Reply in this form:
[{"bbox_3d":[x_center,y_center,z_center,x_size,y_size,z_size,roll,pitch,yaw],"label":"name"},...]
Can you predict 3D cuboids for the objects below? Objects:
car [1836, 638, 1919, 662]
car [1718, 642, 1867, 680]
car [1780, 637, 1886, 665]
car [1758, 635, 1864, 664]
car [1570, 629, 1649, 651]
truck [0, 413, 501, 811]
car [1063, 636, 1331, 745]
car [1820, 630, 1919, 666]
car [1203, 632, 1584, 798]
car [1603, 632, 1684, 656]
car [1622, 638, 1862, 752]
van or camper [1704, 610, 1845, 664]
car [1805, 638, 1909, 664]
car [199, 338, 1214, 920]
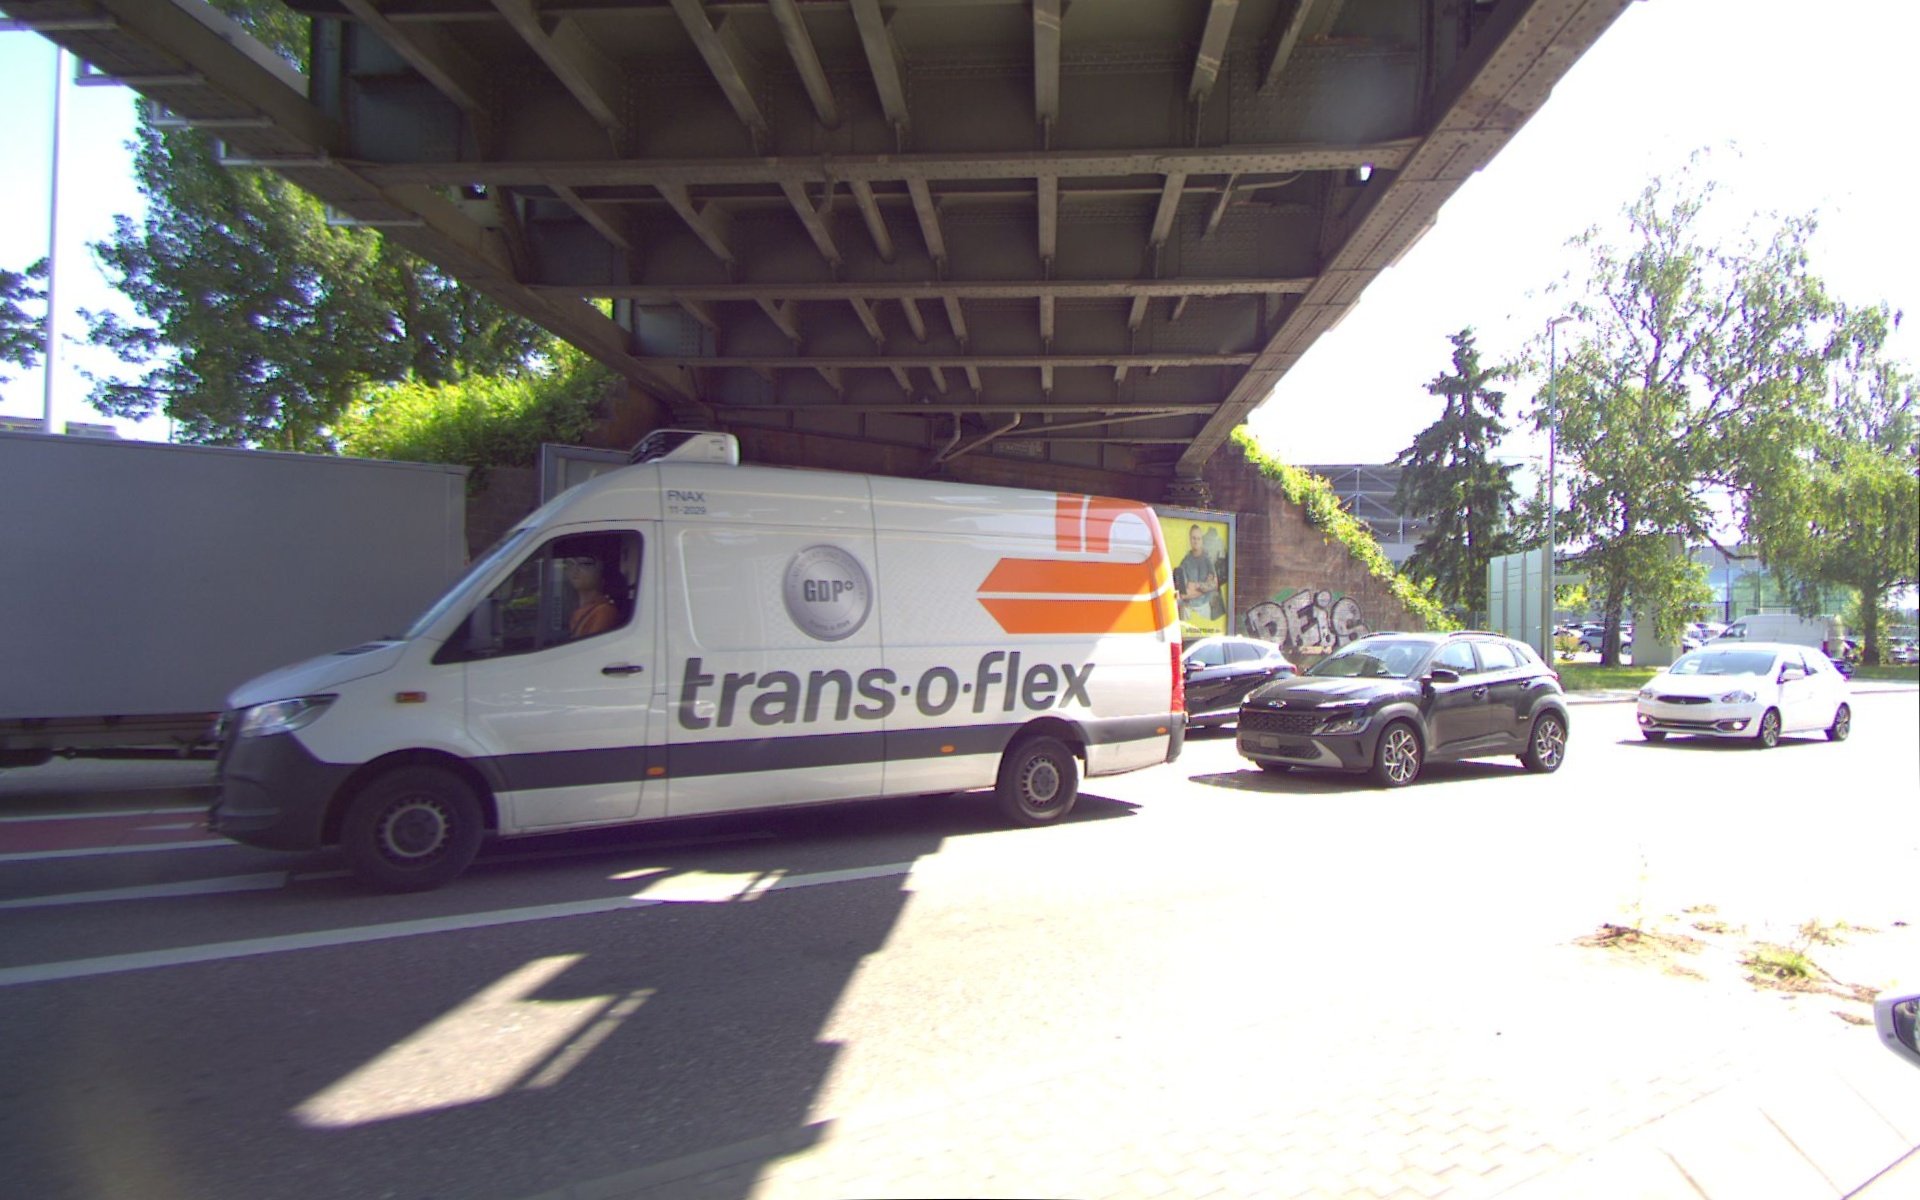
[{"bbox_3d":[56.563,3.048,61.327,1.929,1.346,4.250,2,-2,-27],"label":"car"},{"bbox_3d":[35.955,2.608,43.538,1.971,1.432,4.658,2,-2,-21],"label":"car"},{"bbox_3d":[47.903,2.780,55.234,1.719,1.372,4.077,3,-2,-24],"label":"car"},{"bbox_3d":[45.964,2.657,54.365,1.719,1.457,4.077,2,-2,-24],"label":"car"},{"bbox_3d":[42.329,2.587,65.518,1.719,1.372,4.077,2,-2,-24],"label":"car"},{"bbox_3d":[-8.091,0.105,8.923,6.995,3.129,2.327,2,-1,-33],"label":"truck"},{"bbox_3d":[3.857,1.368,16.224,4.127,1.514,1.761,1,-2,-30],"label":"car"},{"bbox_3d":[52.596,2.738,57.902,1.929,1.909,4.250,2,-2,-27],"label":"car"},{"bbox_3d":[4.869,1.137,11.172,4.127,1.514,1.761,1,-2,-30],"label":"car"},{"bbox_3d":[45.023,2.901,66.254,1.722,1.457,4.070,2,-2,-29],"label":"car"},{"bbox_3d":[12.048,1.366,15.440,3.784,1.514,1.635,1,-2,-31],"label":"car"},{"bbox_3d":[42.332,1.854,52.363,1.977,2.504,5.349,0,1,-31],"label":"van or camper"},{"bbox_3d":[50.468,2.855,56.585,1.721,1.310,4.072,2,-2,-27],"label":"car"},{"bbox_3d":[-1.273,0.270,7.577,6.861,2.841,1.983,2,-4,-32],"label":"car"}]
